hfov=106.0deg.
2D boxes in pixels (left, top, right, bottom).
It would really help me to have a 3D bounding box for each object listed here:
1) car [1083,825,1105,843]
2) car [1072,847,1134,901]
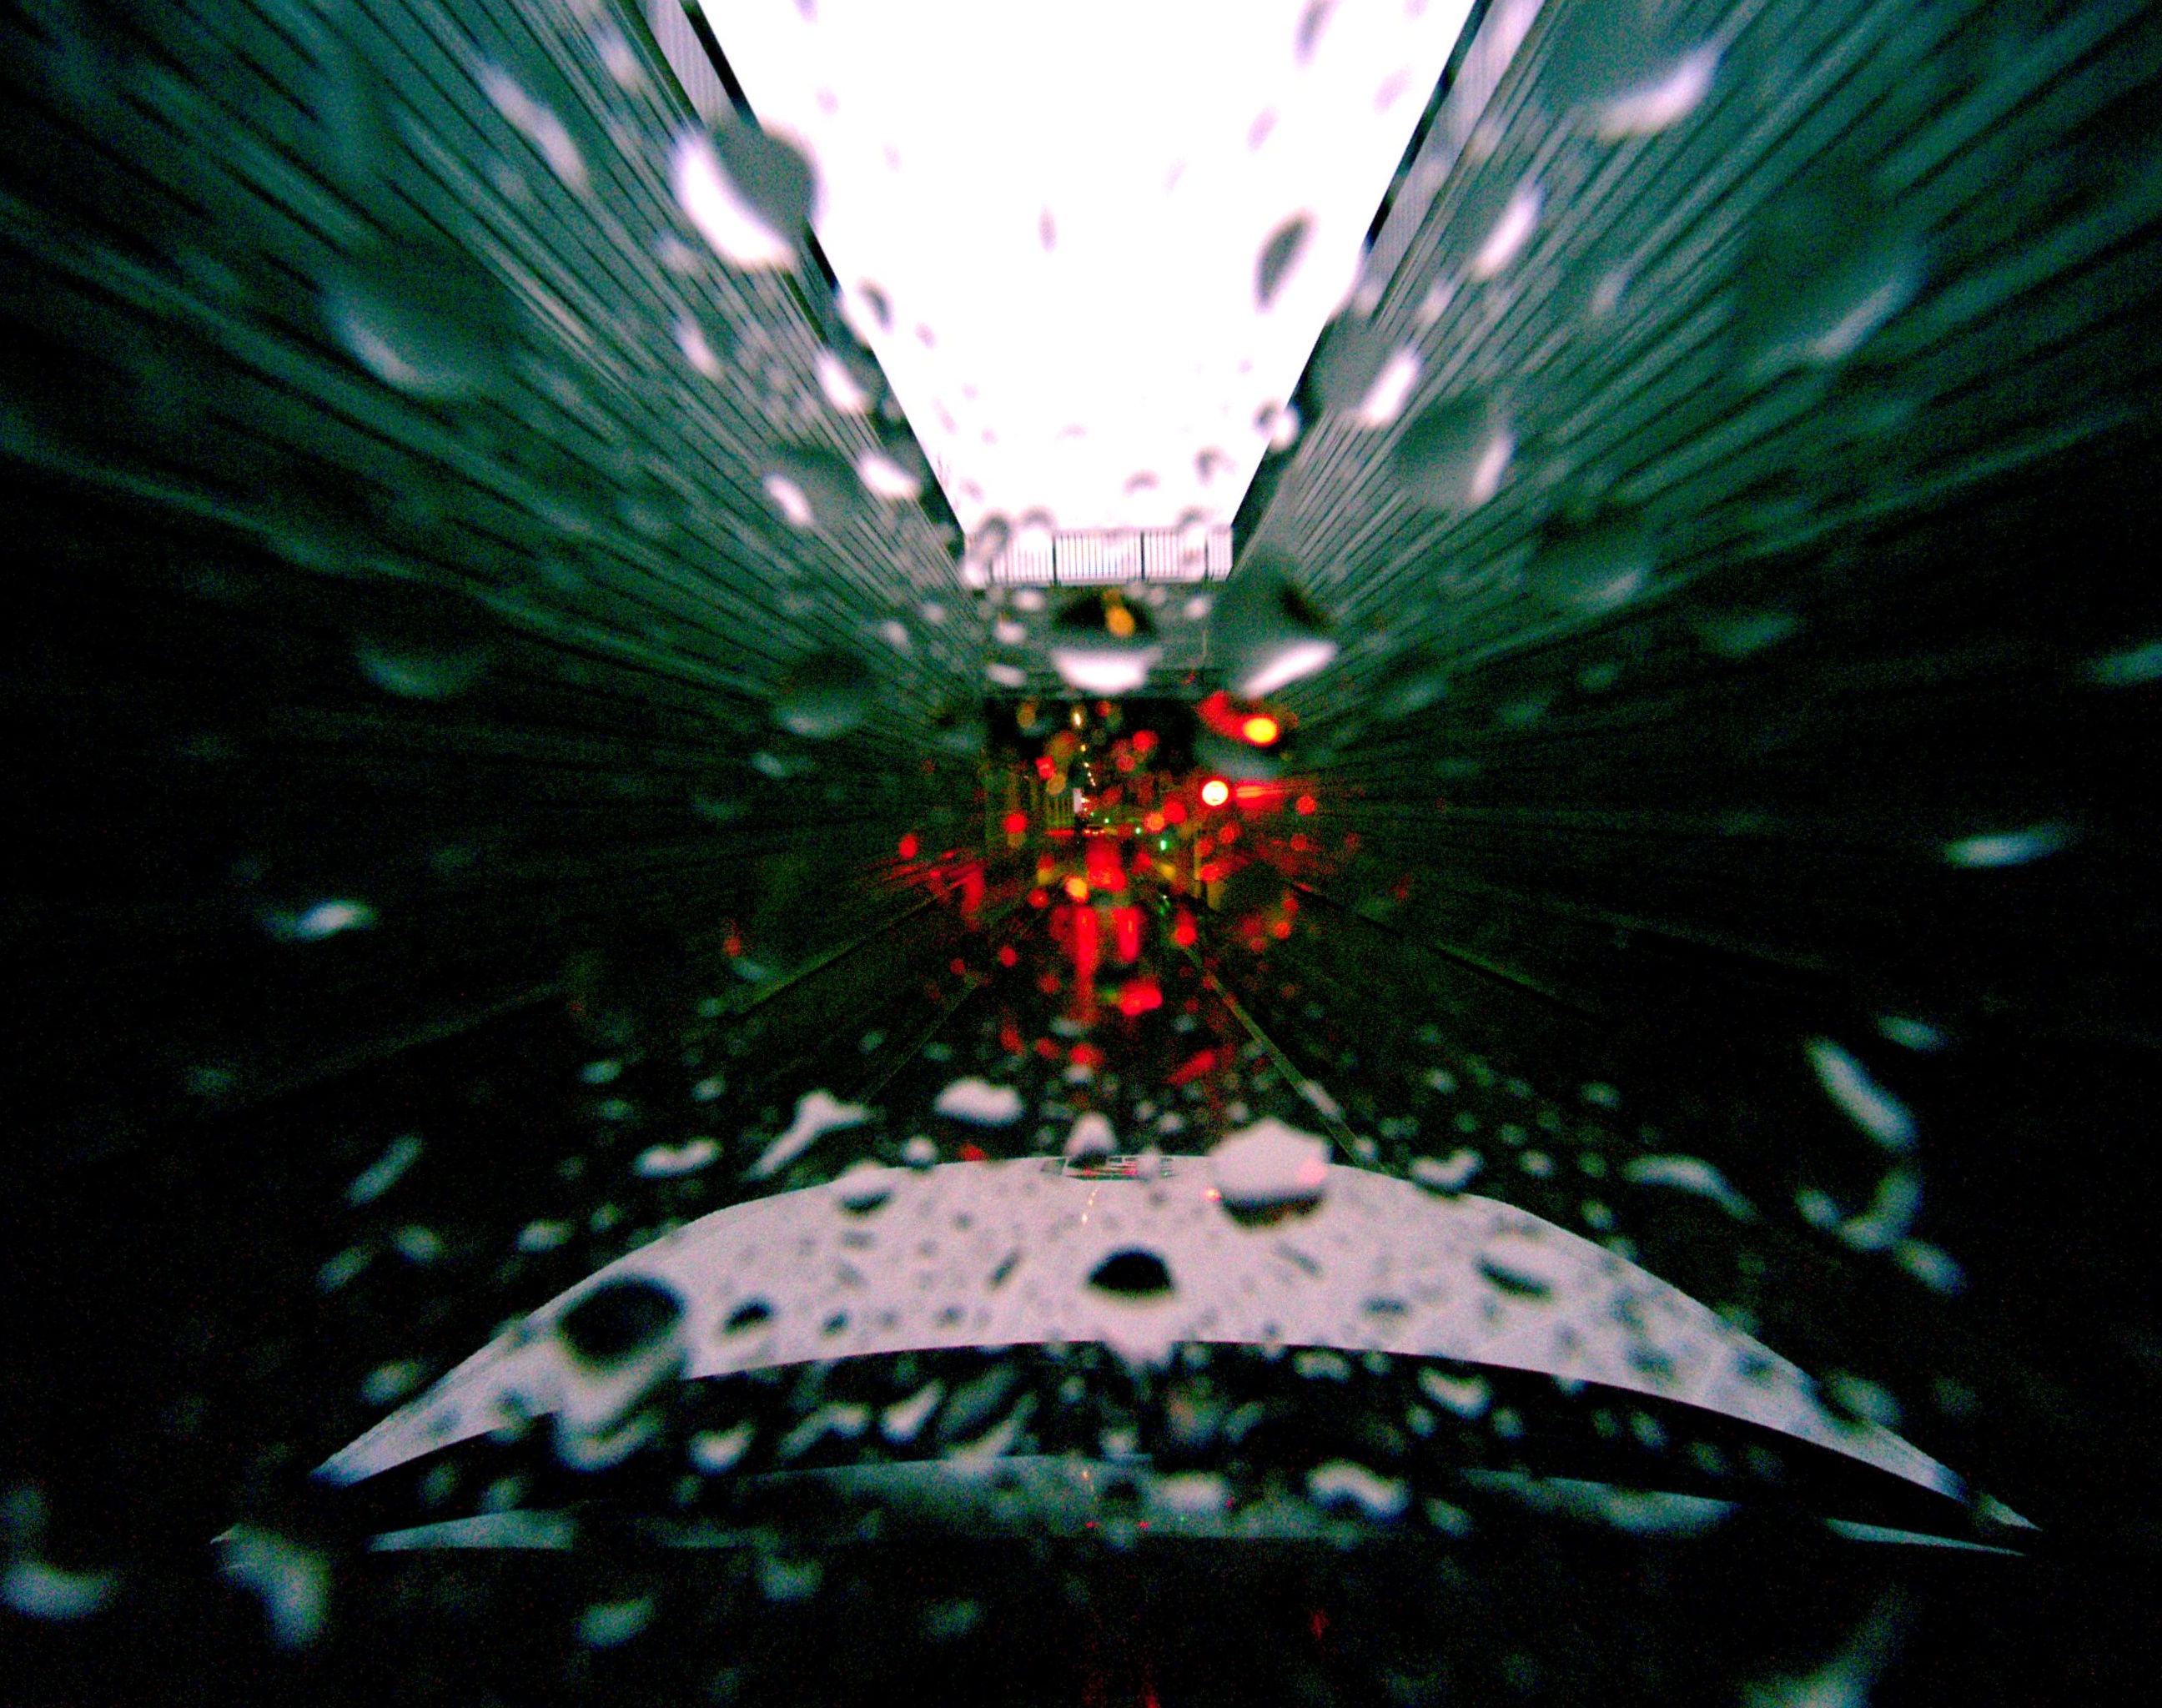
[{"bbox_3d":[1.092,-1.782,72.165,1.913,1.485,4.001,0,3,0],"label":"car"},{"bbox_3d":[0.708,0.538,24.660,1.715,1.479,4.003,0,1,3],"label":"car"}]
